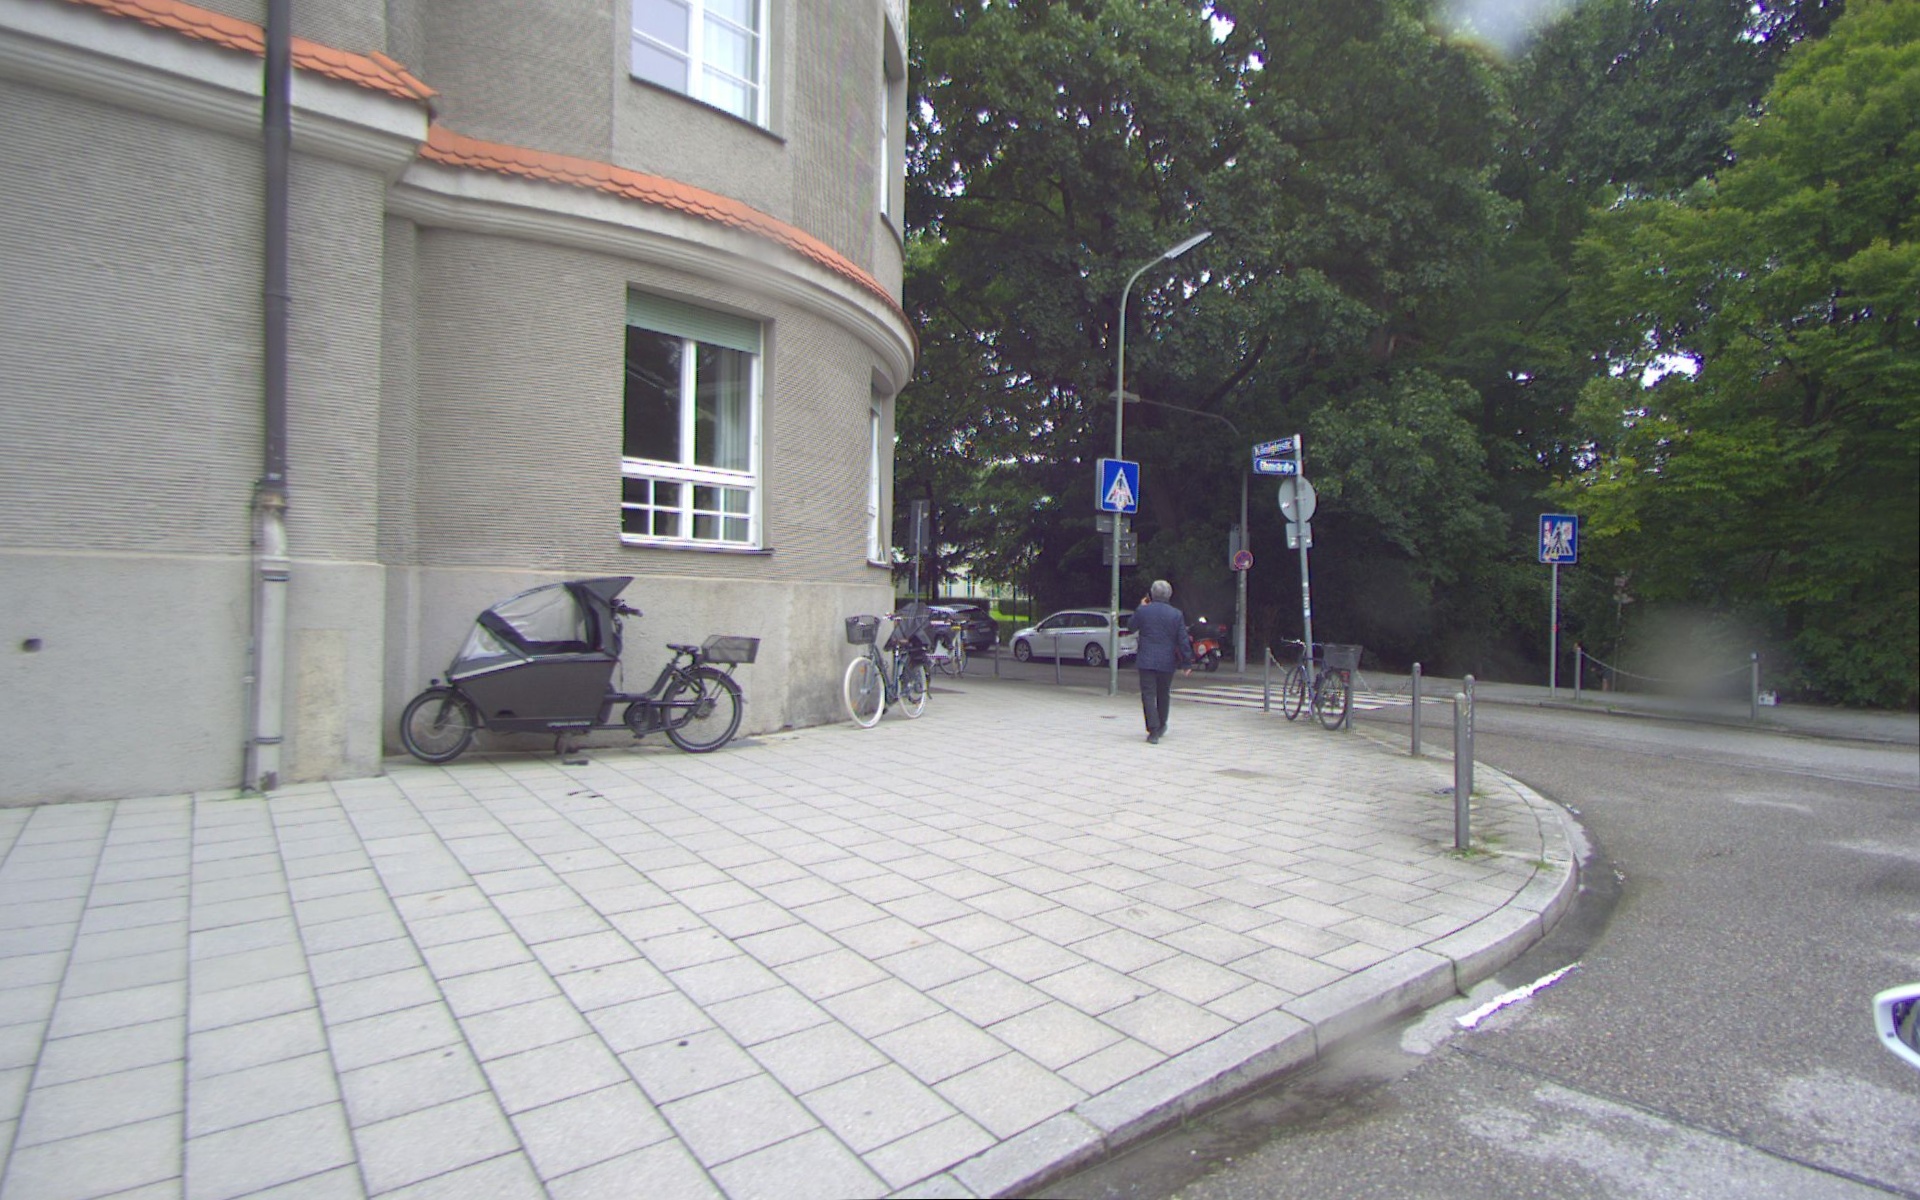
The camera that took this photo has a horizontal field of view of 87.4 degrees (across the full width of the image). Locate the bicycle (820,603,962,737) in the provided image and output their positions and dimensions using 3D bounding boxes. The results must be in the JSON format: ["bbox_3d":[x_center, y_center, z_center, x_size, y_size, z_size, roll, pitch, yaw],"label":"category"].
[{"bbox_3d":[-0.682,0.686,10.718,0.724,1.273,1.926,2,0,22],"label":"bicycle"}]

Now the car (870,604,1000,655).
[{"bbox_3d":[-0.878,0.910,32.457,1.763,1.451,4.462,1,0,-41],"label":"car"}]

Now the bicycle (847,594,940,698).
[{"bbox_3d":[-1.033,0.645,15.050,0.728,1.432,1.914,1,0,-25],"label":"bicycle"}]

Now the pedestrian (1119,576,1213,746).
[{"bbox_3d":[2.109,0.609,10.351,0.797,1.663,0.726,2,0,2],"label":"pedestrian"}]

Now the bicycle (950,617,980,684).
[{"bbox_3d":[0.082,0.916,18.855,0.502,1.162,1.684,2,0,-1],"label":"bicycle"}]

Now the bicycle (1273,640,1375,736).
[{"bbox_3d":[4.535,1.059,12.646,0.502,1.023,2.008,2,0,-1],"label":"bicycle"}]

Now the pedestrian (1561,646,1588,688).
[{"bbox_3d":[17.778,1.928,29.069,0.491,1.171,0.468,1,0,-32],"label":"pedestrian"}]

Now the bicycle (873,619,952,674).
[{"bbox_3d":[-1.040,1.021,22.134,1.660,1.162,0.463,2,0,-23],"label":"bicycle"}]

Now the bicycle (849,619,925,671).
[{"bbox_3d":[-1.689,1.051,23.295,1.660,1.162,0.509,2,0,-23],"label":"bicycle"}]

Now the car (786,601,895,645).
[{"bbox_3d":[-4.427,0.798,36.691,1.763,1.451,4.462,1,0,-41],"label":"car"}]

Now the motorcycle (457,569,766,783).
[{"bbox_3d":[-2.649,0.532,7.803,2.129,1.460,0.730,1,0,-40],"label":"motorcycle"}]

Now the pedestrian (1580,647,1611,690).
[{"bbox_3d":[18.109,1.938,28.629,0.491,1.184,0.582,1,0,-32],"label":"pedestrian"}]

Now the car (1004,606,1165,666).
[{"bbox_3d":[3.304,0.929,27.364,1.613,1.468,4.380,1,0,-42],"label":"car"}]

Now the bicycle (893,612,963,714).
[{"bbox_3d":[-0.449,0.777,13.113,0.555,1.172,1.922,5,-1,-10],"label":"bicycle"}]

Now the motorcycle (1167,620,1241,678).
[{"bbox_3d":[5.679,1.122,23.508,0.844,1.199,2.000,-2,1,-13],"label":"motorcycle"}]

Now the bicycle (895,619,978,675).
[{"bbox_3d":[-0.506,1.004,21.521,1.684,1.162,0.509,2,0,-23],"label":"bicycle"}]
